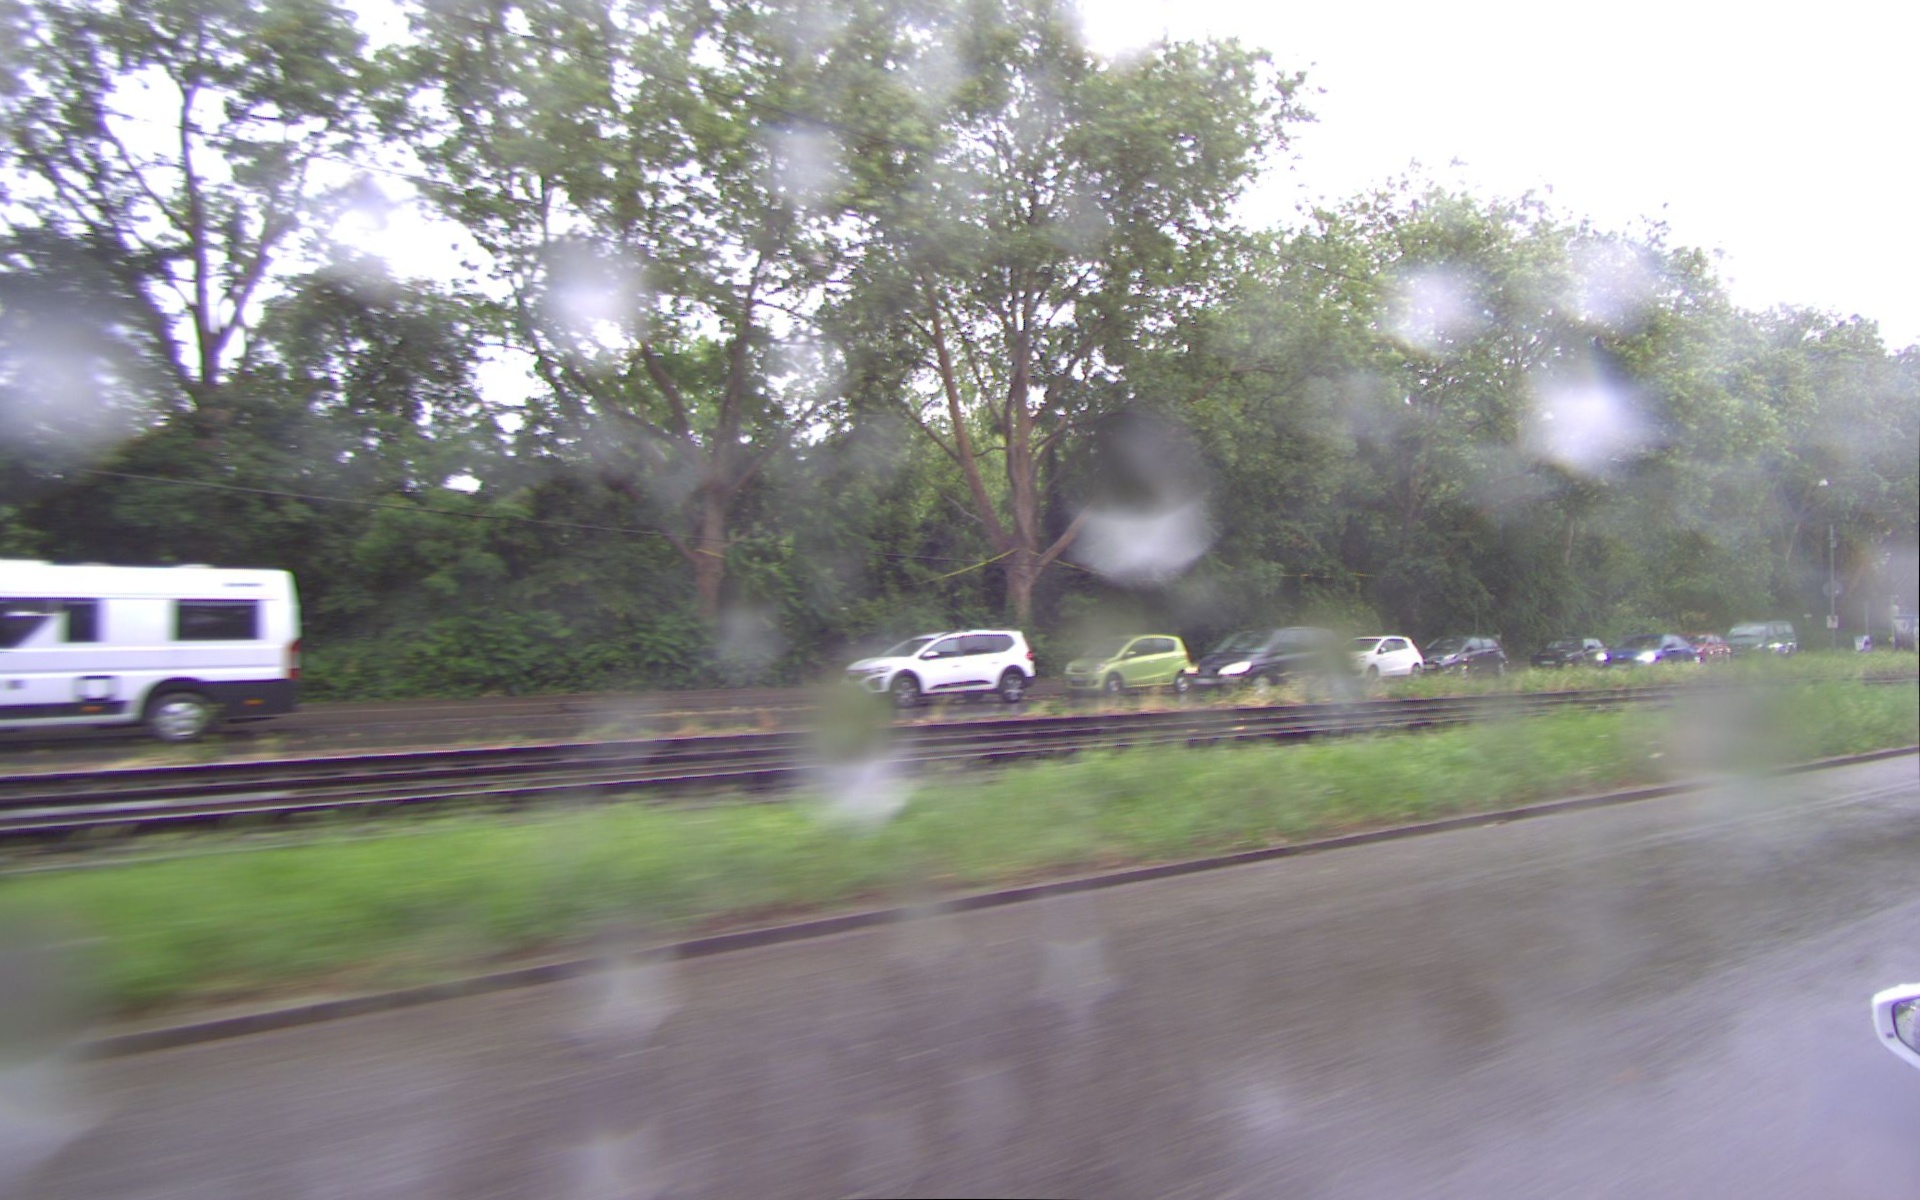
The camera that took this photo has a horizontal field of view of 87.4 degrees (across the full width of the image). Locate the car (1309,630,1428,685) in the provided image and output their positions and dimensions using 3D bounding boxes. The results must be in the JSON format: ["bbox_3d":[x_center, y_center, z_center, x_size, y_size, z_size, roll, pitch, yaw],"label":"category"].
[{"bbox_3d":[13.166,1.825,32.350,3.774,1.669,1.751,1,-3,-34],"label":"car"}]

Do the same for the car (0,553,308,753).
[{"bbox_3d":[-12.969,0.739,13.974,6.498,2.574,2.375,2,-3,-34],"label":"car"}]

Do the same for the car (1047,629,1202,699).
[{"bbox_3d":[4.264,1.611,25.851,3.774,1.669,1.751,1,-3,-34],"label":"car"}]

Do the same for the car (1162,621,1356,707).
[{"bbox_3d":[6.807,1.410,22.780,4.215,1.774,2.020,1,-3,-34],"label":"car"}]

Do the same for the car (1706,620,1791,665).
[{"bbox_3d":[38.891,2.081,49.500,4.757,2.120,2.018,2,-3,-36],"label":"car"}]

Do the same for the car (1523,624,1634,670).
[{"bbox_3d":[24.262,1.805,39.359,4.562,1.679,2.019,1,-2,-34],"label":"car"}]

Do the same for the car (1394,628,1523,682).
[{"bbox_3d":[17.446,1.915,35.113,4.645,1.774,2.020,1,-3,-34],"label":"car"}]

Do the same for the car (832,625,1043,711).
[{"bbox_3d":[-0.447,1.467,22.351,4.484,1.750,1.740,2,-3,-34],"label":"car"}]

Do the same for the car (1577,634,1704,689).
[{"bbox_3d":[23.428,2.086,34.543,4.645,1.774,2.020,1,-3,-34],"label":"car"}]
